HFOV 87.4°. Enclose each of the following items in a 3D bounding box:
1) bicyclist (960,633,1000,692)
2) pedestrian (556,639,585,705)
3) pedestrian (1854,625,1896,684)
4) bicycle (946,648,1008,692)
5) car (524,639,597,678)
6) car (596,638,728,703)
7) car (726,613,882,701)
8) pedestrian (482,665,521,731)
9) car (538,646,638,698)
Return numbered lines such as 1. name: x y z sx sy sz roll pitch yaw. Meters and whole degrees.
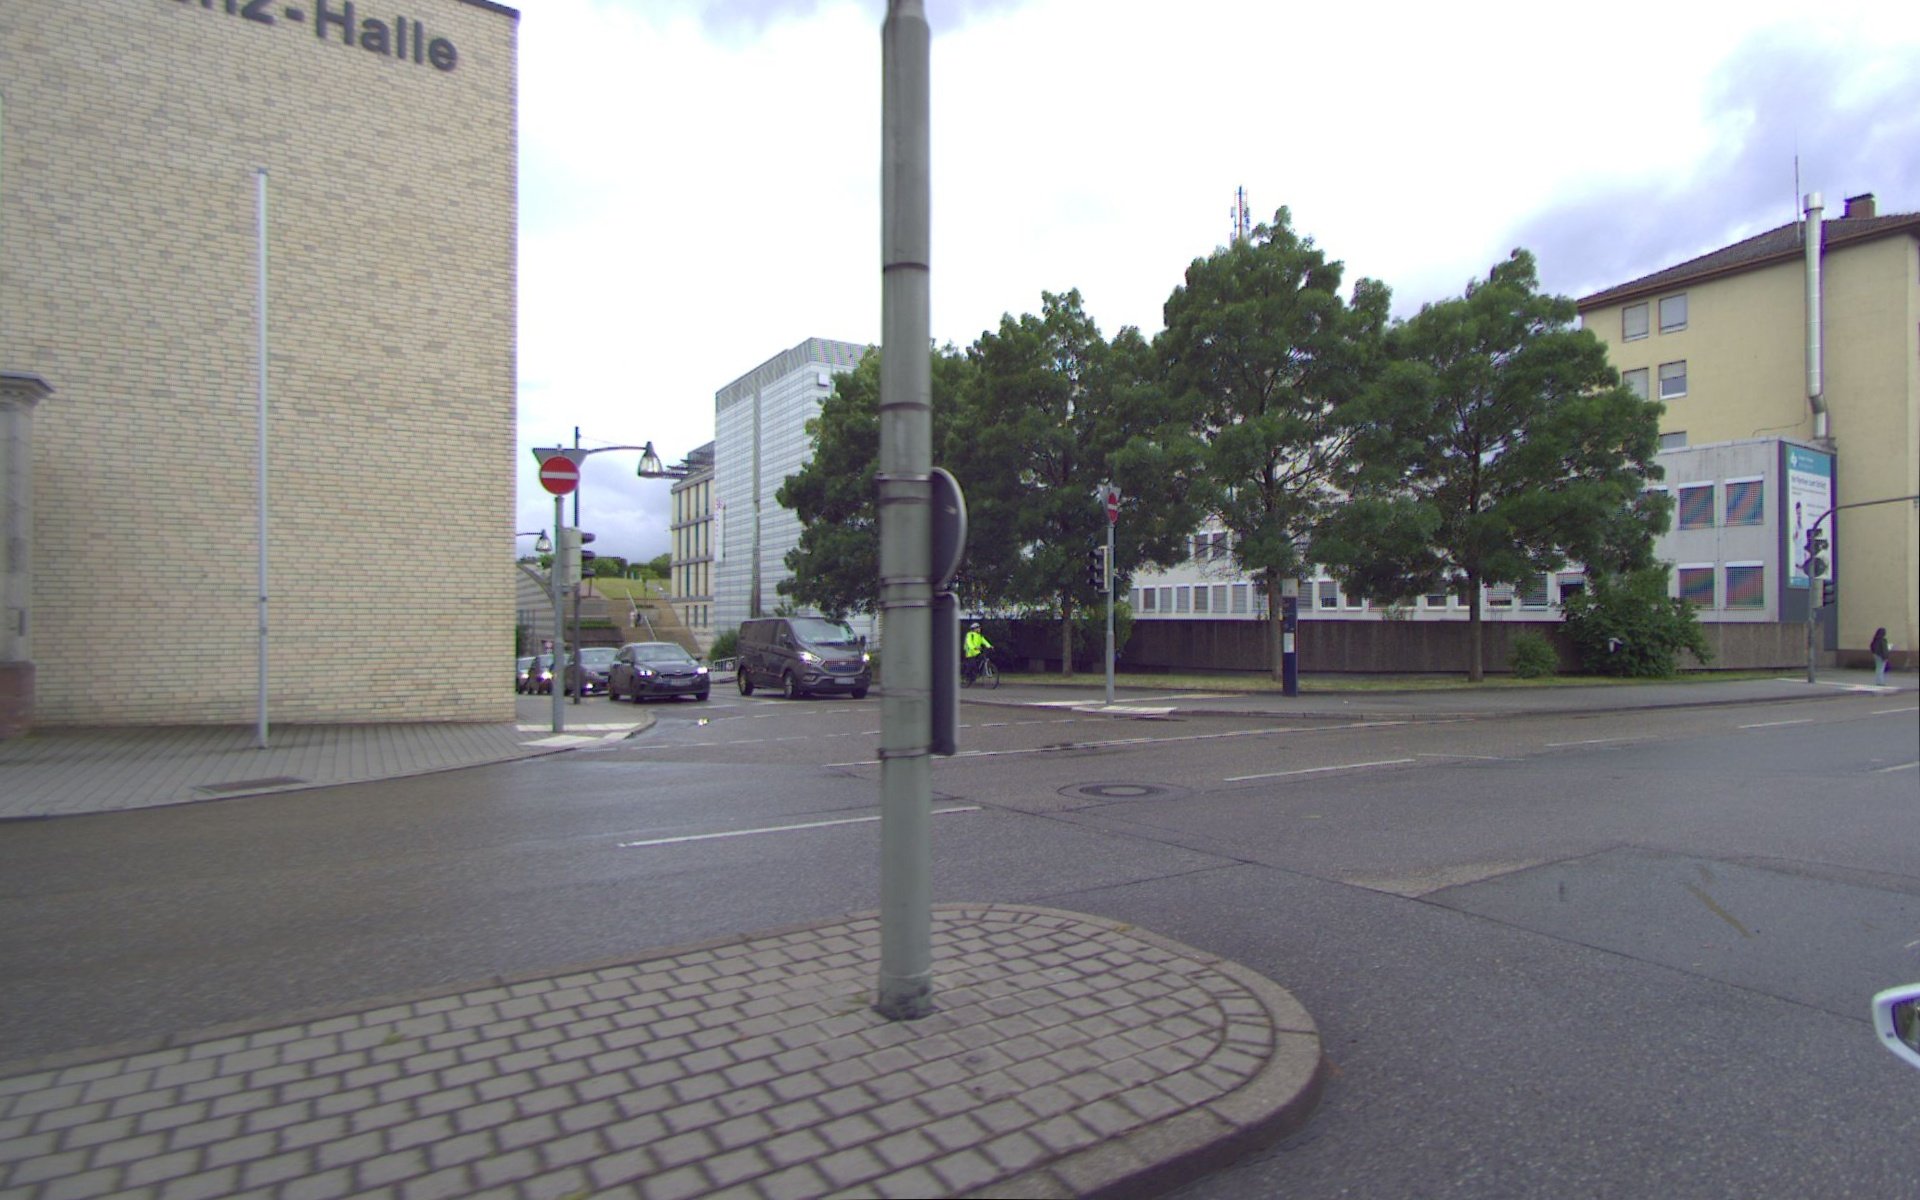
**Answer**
1. bicyclist: 0.518 1.614 26.056 0.739 1.489 0.810 1 -2 -32
2. pedestrian: -8.515 1.564 21.972 0.469 1.394 0.617 1 0 -31
3. pedestrian: 27.584 1.626 30.280 0.802 1.712 0.714 1 0 -30
4. bicycle: 0.427 1.792 26.159 0.740 1.054 1.823 -1 -1 -31
5. car: -16.419 2.415 41.204 1.980 1.476 3.964 1 -5 -34
6. car: -7.474 1.776 24.948 1.981 1.460 3.961 2 -5 -36
7. car: -3.974 1.472 24.926 1.980 1.950 4.749 1 -5 -34
8. pedestrian: -12.883 2.742 28.213 0.799 1.723 1.103 1 0 -34
9. car: -11.432 2.227 30.713 1.980 1.476 3.964 1 -5 -34
